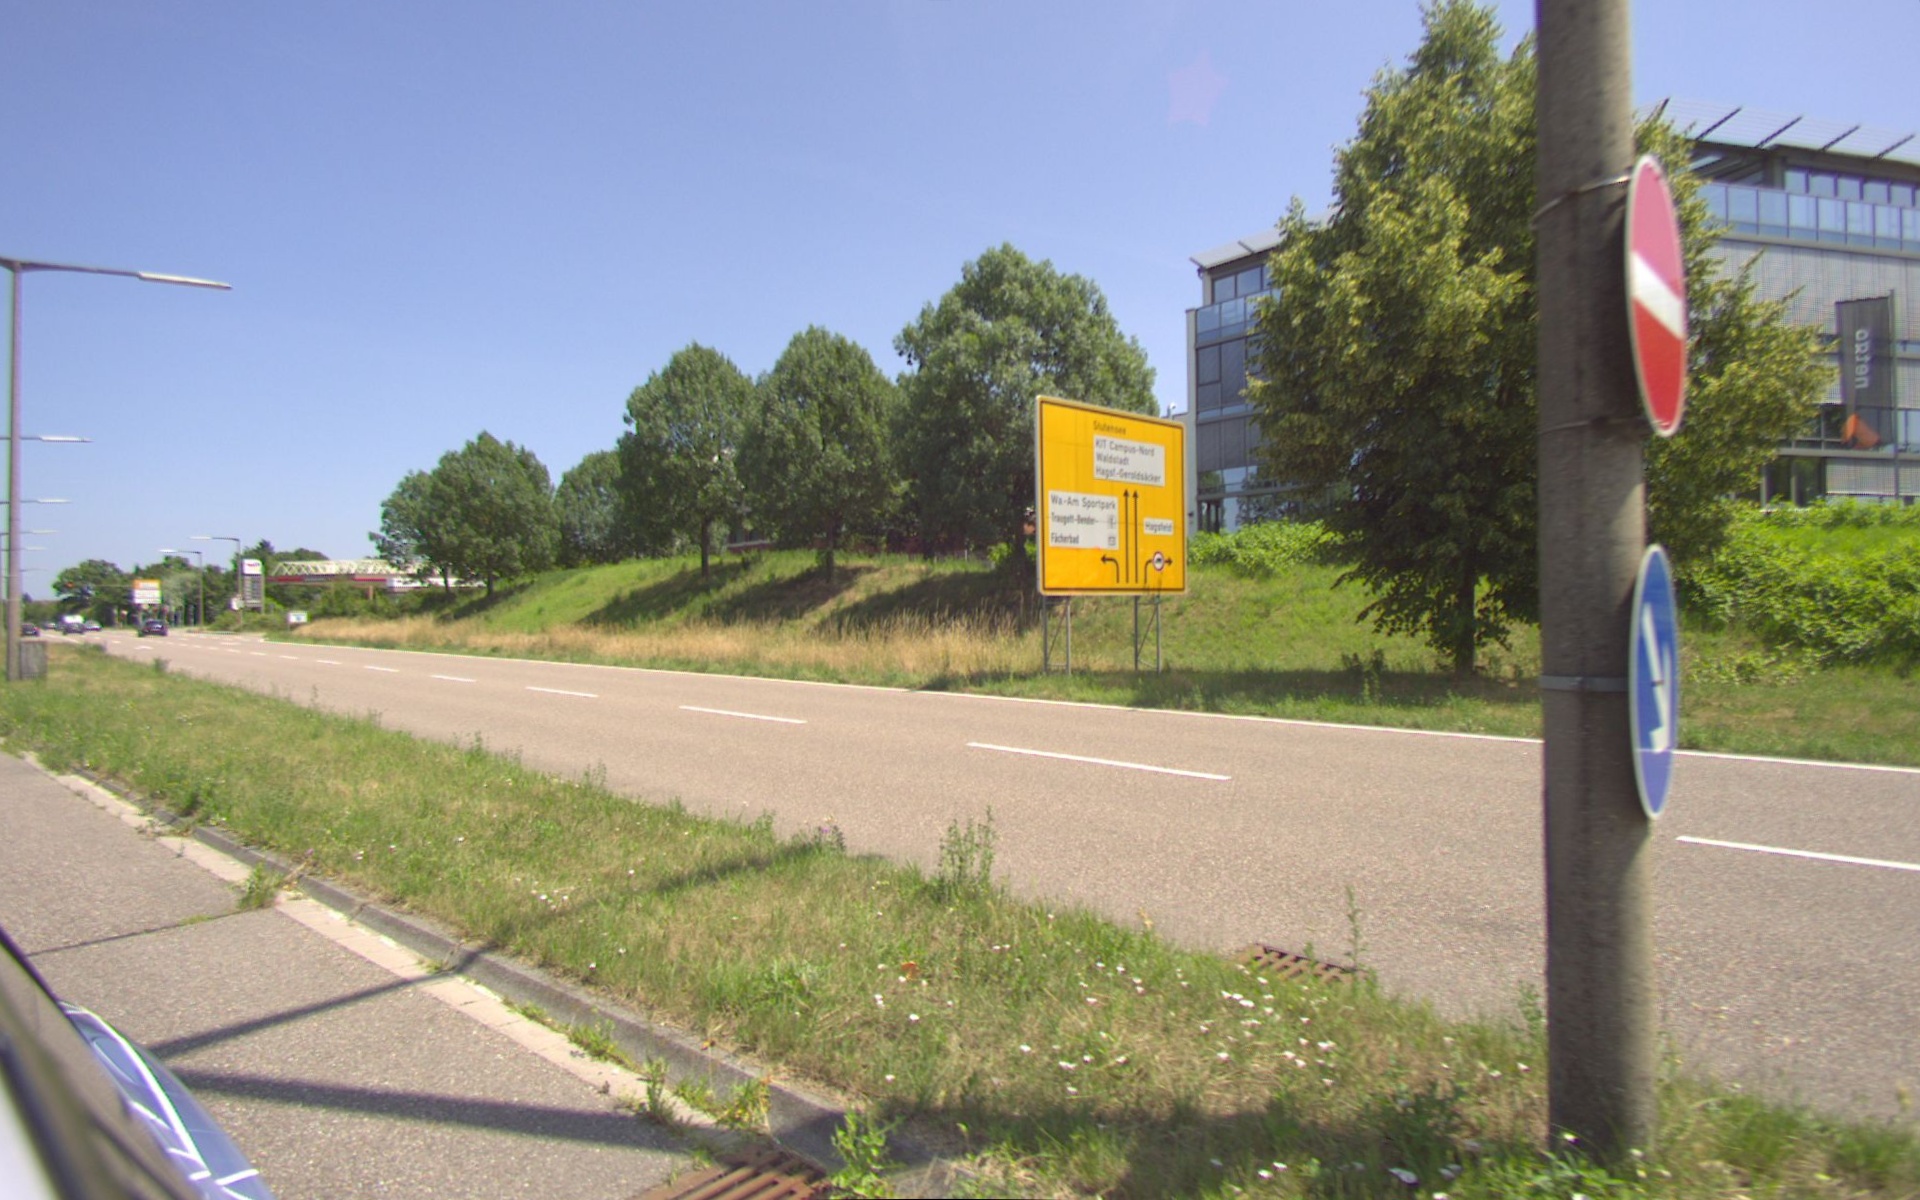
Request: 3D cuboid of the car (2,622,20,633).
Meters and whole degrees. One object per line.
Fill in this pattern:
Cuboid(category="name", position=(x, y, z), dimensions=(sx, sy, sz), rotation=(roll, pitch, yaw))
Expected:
Cuboid(category="car", position=(-132.793, 3.883, 141.620), dimensions=(3.600, 1.405, 1.597), rotation=(0, 0, 42))

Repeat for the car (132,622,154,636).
Cuboid(category="car", position=(-100.979, 3.542, 125.115), dimensions=(3.820, 1.598, 1.630), rotation=(0, 0, 44))

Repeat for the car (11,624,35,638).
Cuboid(category="car", position=(-101.271, 3.305, 109.360), dimensions=(3.600, 1.405, 1.597), rotation=(0, 0, 42))

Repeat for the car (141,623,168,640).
Cuboid(category="car", position=(-69.507, 2.702, 87.281), dimensions=(1.598, 1.364, 3.519), rotation=(0, 0, -42))

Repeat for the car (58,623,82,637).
Cuboid(category="car", position=(-102.139, 3.426, 116.146), dimensions=(3.600, 1.405, 1.597), rotation=(0, 0, 42))
